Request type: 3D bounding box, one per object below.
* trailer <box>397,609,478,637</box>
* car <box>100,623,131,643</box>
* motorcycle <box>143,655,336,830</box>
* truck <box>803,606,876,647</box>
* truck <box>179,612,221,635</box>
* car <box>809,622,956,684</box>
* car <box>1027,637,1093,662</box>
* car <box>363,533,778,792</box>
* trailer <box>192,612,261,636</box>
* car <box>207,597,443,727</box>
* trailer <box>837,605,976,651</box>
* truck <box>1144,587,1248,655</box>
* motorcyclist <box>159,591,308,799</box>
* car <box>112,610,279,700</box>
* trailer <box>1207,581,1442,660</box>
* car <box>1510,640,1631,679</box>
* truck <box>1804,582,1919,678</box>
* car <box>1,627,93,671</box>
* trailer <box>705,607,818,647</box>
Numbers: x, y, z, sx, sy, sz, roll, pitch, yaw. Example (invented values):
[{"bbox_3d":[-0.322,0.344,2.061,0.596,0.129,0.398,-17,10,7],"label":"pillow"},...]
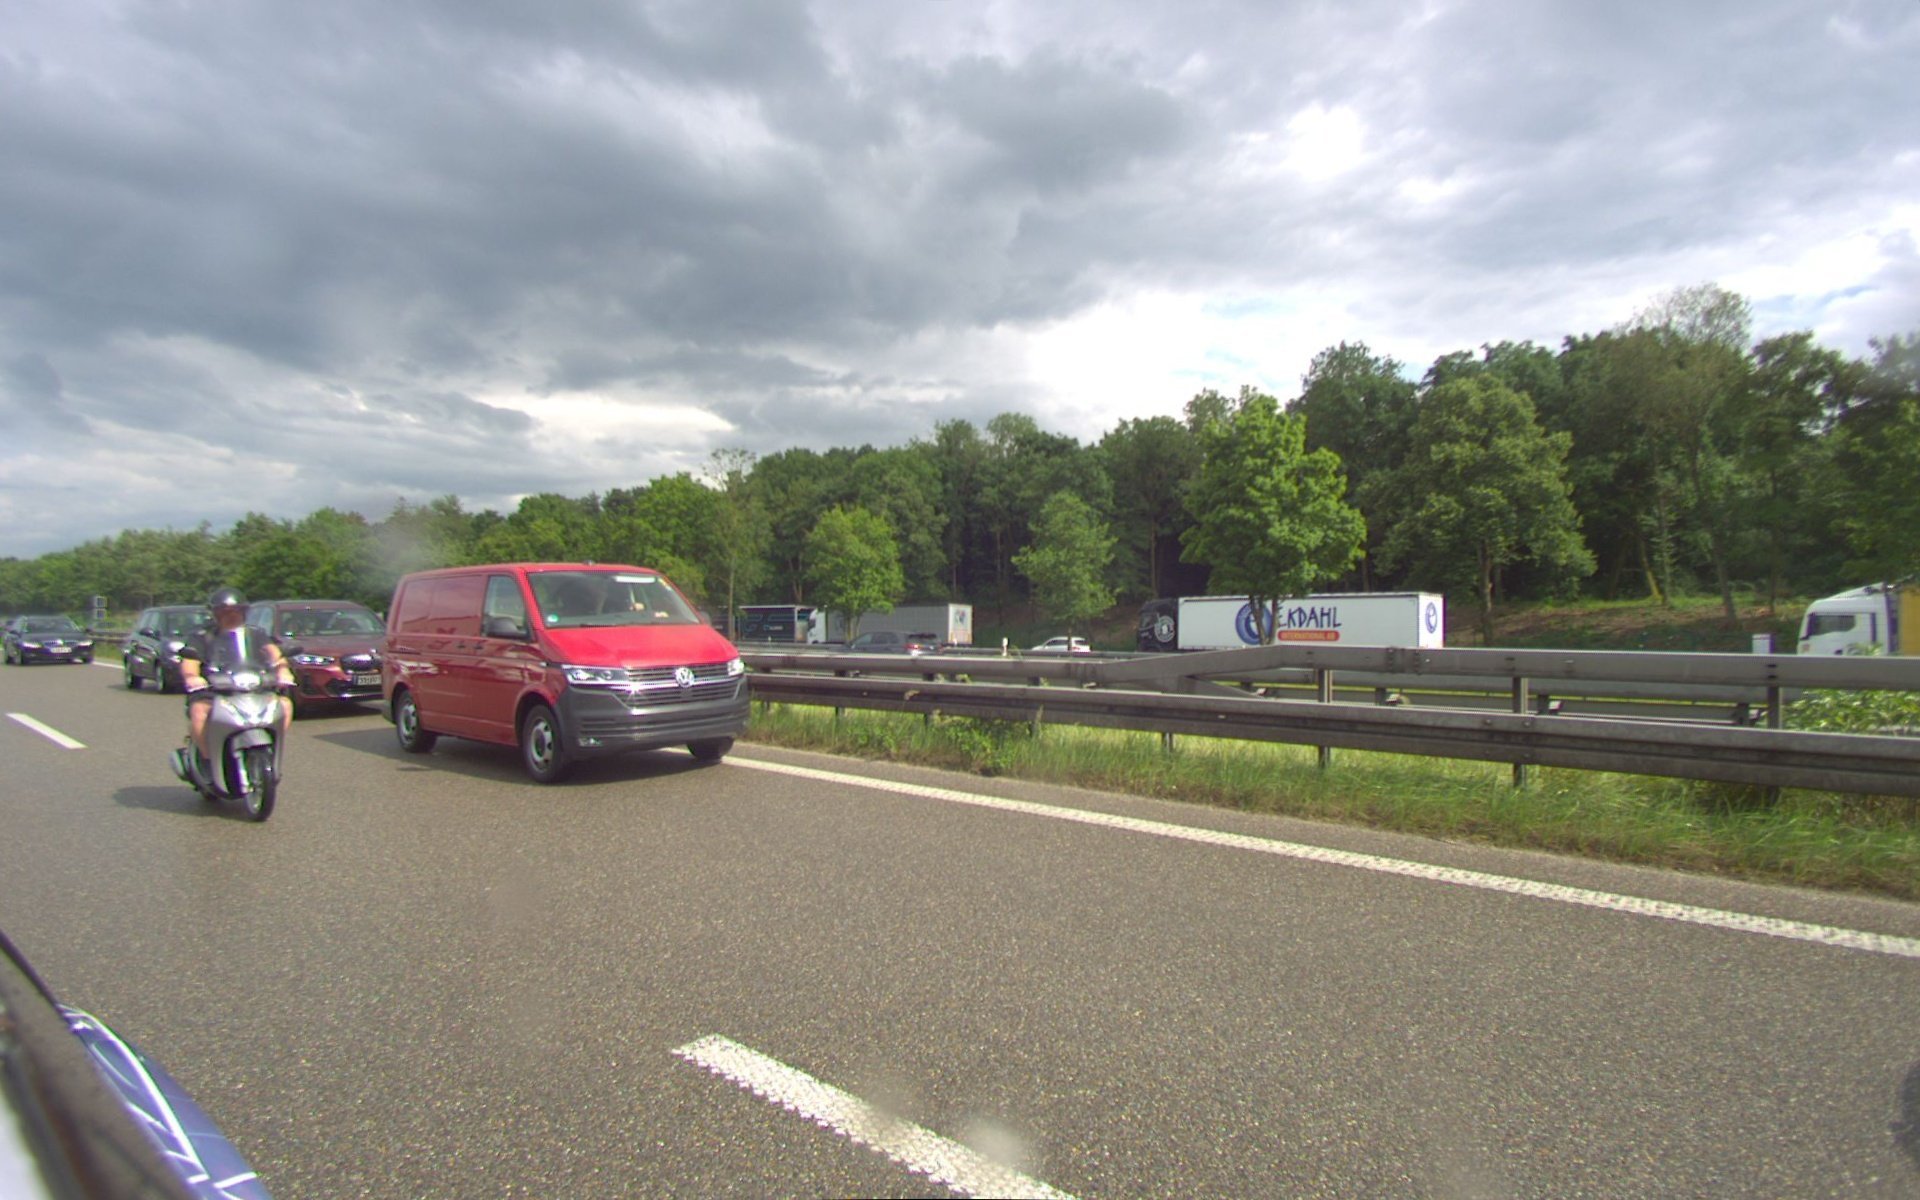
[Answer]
[{"bbox_3d":[-64.960,2.892,125.638,13.378,3.296,3.050,-1,-2,35],"label":"trailer"},{"bbox_3d":[-89.951,3.513,107.788,3.998,2.029,1.973,-1,0,41],"label":"car"},{"bbox_3d":[-5.457,0.996,7.617,1.979,1.095,0.669,-1,0,39],"label":"motorcycle"},{"bbox_3d":[-9.738,2.173,81.723,5.597,3.208,3.009,-1,-2,43],"label":"truck"},{"bbox_3d":[-116.076,3.583,154.605,6.309,3.509,2.673,-1,-2,28],"label":"truck"},{"bbox_3d":[-2.410,1.552,30.705,4.500,1.759,1.847,-1,-2,41],"label":"car"},{"bbox_3d":[6.429,3.150,65.267,1.873,1.514,4.003,2,-2,-44],"label":"car"},{"bbox_3d":[-4.060,0.517,10.078,4.748,2.000,1.870,-1,-1,41],"label":"car"},{"bbox_3d":[-109.723,3.524,151.257,13.356,3.539,2.681,0,-2,28],"label":"trailer"},{"bbox_3d":[-9.666,0.836,15.274,4.293,1.682,1.870,-1,-1,41],"label":"car"},{"bbox_3d":[-4.250,2.101,76.528,12.175,3.217,2.986,-1,-2,43],"label":"trailer"},{"bbox_3d":[13.309,1.226,57.386,2.136,3.648,5.586,2,-2,-41],"label":"truck"},{"bbox_3d":[-5.494,0.666,7.649,1.019,1.453,0.664,-1,0,39],"label":"motorcyclist"},{"bbox_3d":[-15.193,1.015,20.045,4.052,1.578,1.870,-1,-1,41],"label":"car"},{"bbox_3d":[18.201,1.074,51.715,2.155,3.627,11.736,2,-2,-41],"label":"trailer"},{"bbox_3d":[25.751,2.491,42.764,1.871,1.514,4.006,2,-2,-41],"label":"car"},{"bbox_3d":[31.904,0.963,34.035,1.950,3.121,5.088,-1,0,-36],"label":"truck"},{"bbox_3d":[-28.277,1.471,31.317,3.998,1.245,1.653,-1,-1,41],"label":"car"},{"bbox_3d":[-17.646,2.362,89.169,12.643,3.296,2.577,-1,-2,41],"label":"trailer"}]
